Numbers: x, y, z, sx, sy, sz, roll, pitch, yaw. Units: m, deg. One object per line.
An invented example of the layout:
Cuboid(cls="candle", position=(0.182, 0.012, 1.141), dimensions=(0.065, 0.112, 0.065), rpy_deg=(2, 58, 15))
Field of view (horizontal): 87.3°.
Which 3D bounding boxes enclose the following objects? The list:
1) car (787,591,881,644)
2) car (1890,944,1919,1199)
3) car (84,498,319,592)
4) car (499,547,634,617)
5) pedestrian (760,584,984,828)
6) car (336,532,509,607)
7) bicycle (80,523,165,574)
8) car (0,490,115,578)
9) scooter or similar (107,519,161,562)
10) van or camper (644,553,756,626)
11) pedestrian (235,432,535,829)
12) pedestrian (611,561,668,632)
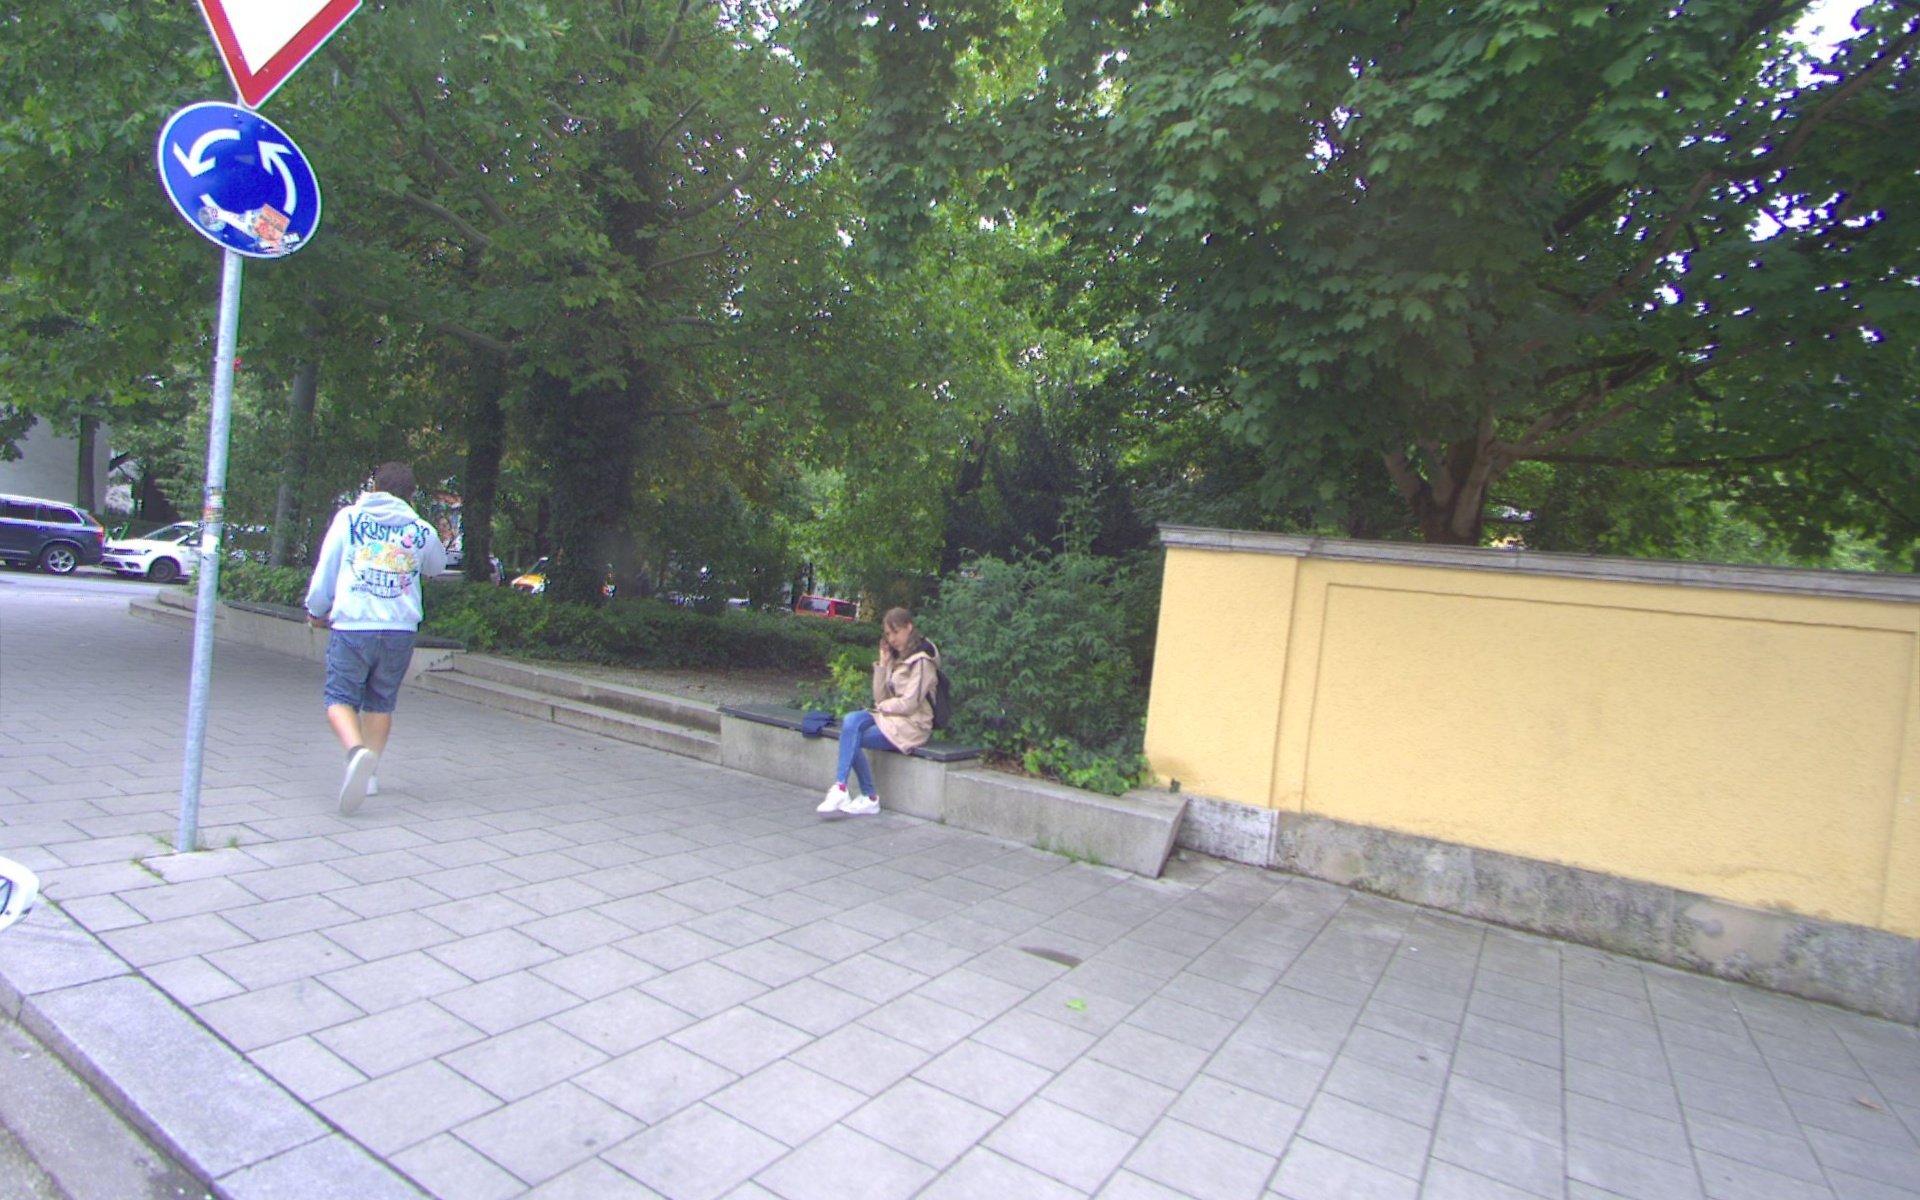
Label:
Cuboid(cls="car", position=(-5.388, 0.811, 43.608), dimensions=(1.960, 1.861, 4.715), rpy_deg=(6, -2, 20))
Cuboid(cls="car", position=(3.784, 0.917, 0.257), dimensions=(4.805, 1.943, 1.878), rpy_deg=(7, -2, 31))
Cuboid(cls="car", position=(-20.820, -1.434, 27.911), dimensions=(1.802, 1.941, 4.849), rpy_deg=(6, -2, 22))
Cuboid(cls="car", position=(-15.870, -0.661, 40.963), dimensions=(1.917, 2.299, 5.244), rpy_deg=(6, -1, 21))
Cuboid(cls="pedestrian", position=(-0.550, 0.651, 6.482), dimensions=(0.863, 1.354, 1.010), rpy_deg=(7, 0, 35))
Cuboid(cls="car", position=(-18.182, -0.951, 34.374), dimensions=(1.858, 1.956, 5.210), rpy_deg=(6, -2, 19))
Cuboid(cls="bicycle", position=(-23.191, -1.411, 27.862), dimensions=(1.796, 1.163, 0.537), rpy_deg=(7, 0, 0))
Cuboid(cls="car", position=(-22.780, -1.698, 22.955), dimensions=(1.964, 1.813, 4.912), rpy_deg=(6, -2, 23))
Cuboid(cls="scooter or similar", position=(-27.091, -1.939, 33.009), dimensions=(0.393, 1.208, 1.215), rpy_deg=(7, -1, 26))
Cuboid(cls="van or camper", position=(-12.580, -0.413, 49.282), dimensions=(1.970, 2.980, 6.012), rpy_deg=(6, -1, 21))
Cuboid(cls="pedestrian", position=(-2.964, 0.133, 5.189), dimensions=(1.036, 1.793, 0.873), rpy_deg=(7, 0, 38))
Cuboid(cls="pedestrian", position=(-8.914, -0.088, 28.046), dimensions=(0.860, 1.853, 1.052), rpy_deg=(7, 0, 22))
